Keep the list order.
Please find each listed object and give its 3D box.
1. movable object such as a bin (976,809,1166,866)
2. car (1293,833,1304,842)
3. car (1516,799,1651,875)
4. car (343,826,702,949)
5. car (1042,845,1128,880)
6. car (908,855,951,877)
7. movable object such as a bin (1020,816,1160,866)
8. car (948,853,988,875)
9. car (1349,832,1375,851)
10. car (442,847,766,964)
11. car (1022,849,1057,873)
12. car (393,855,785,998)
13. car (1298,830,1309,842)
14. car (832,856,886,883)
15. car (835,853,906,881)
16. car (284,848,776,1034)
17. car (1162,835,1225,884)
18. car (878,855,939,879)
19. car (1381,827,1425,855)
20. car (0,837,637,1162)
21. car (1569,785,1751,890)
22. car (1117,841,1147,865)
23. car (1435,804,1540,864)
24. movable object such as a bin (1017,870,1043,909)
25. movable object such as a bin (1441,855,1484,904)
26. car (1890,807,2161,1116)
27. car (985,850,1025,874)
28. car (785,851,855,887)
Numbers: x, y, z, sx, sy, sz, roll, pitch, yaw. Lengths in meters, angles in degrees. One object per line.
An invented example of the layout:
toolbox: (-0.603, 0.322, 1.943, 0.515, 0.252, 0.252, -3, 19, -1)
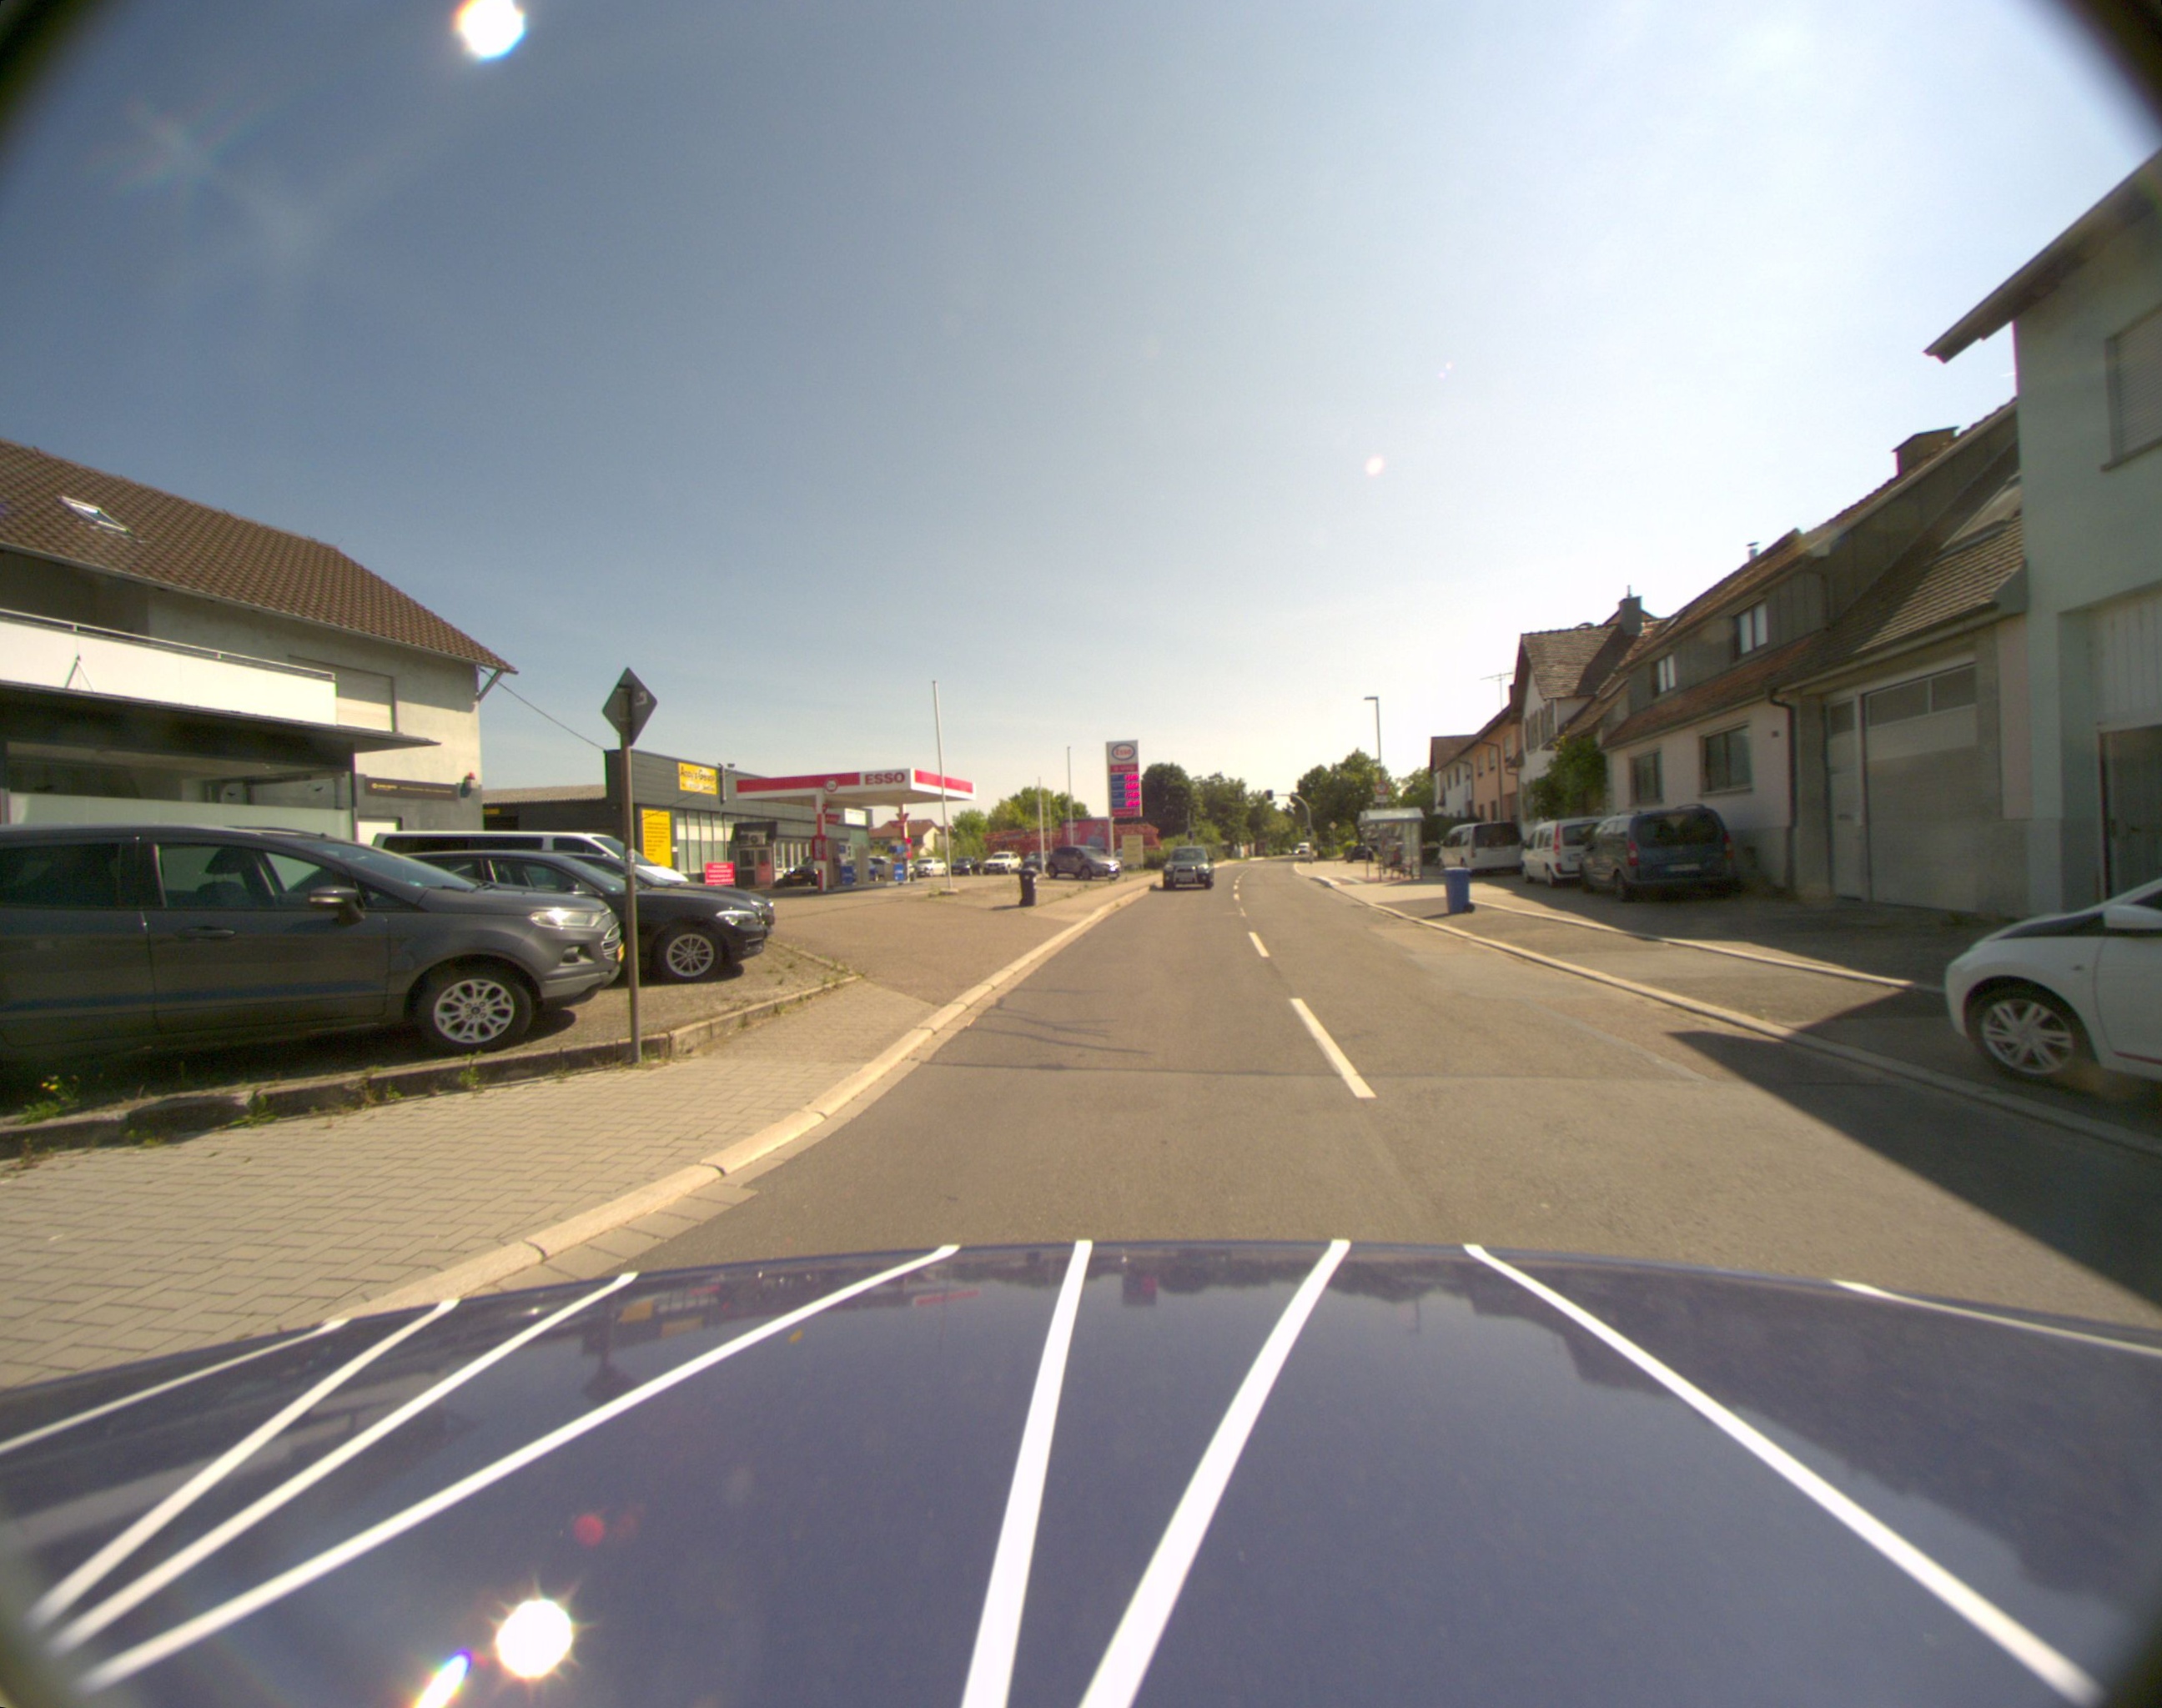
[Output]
movable object such as a bin: (-0.906, -1.338, 65.952, 16.078, 3.995, 2.775, -3, 1, 12)
car: (42.369, -3.189, 148.124, 1.843, 1.583, 4.110, -3, 1, 19)
car: (13.658, -0.497, 20.969, 1.970, 1.764, 4.281, -4, 1, 18)
car: (-10.869, 0.580, 15.341, 5.288, 2.002, 2.229, -3, 1, -13)
car: (0.125, 0.417, 35.763, 1.778, 1.546, 4.171, -2, 0, -39)
car: (-11.383, 0.856, 57.540, 1.845, 1.379, 4.377, -3, 1, 7)
movable object such as a bin: (0.912, -1.269, 74.645, 13.275, 4.141, 2.865, -3, 1, 12)
car: (-8.411, 0.724, 56.913, 1.845, 1.379, 4.001, -3, 1, 7)
car: (23.059, -1.065, 62.467, 1.717, 1.399, 4.401, -2, 2, 16)
car: (-7.762, 0.759, 12.966, 4.321, 1.542, 1.981, -3, 1, -22)
car: (-3.043, 0.473, 56.564, 1.845, 1.583, 4.107, -3, 1, 7)
car: (-6.528, 0.882, 10.707, 4.244, 1.556, 1.981, -2, -1, -24)
car: (47.440, -3.829, 161.913, 1.936, 2.488, 5.844, -3, 1, 19)
car: (-13.721, 0.936, 47.235, 1.796, 1.423, 4.127, -3, 1, 4)
car: (-14.076, 0.869, 50.898, 4.148, 1.625, 1.812, -3, 1, 9)
car: (-5.400, 0.755, 8.136, 3.877, 1.438, 1.748, -3, 1, -22)
car: (4.482, 0.193, 29.834, 1.847, 1.686, 4.403, -4, 0, 15)
car: (-12.138, 0.925, 53.632, 3.685, 1.466, 1.812, -3, 1, 9)
car: (18.983, -0.757, 44.966, 1.717, 1.444, 3.919, -4, -1, 14)
car: (-5.572, 0.810, 5.269, 4.119, 1.644, 1.827, -3, 1, -27)
car: (12.184, -0.370, 16.353, 1.839, 1.782, 4.348, -6, 0, 21)
car: (3.861, -0.047, 56.818, 1.807, 1.676, 4.372, -2, 0, 9)
car: (15.530, -0.777, 29.375, 2.129, 1.975, 5.268, -4, 1, 12)
movable object such as a bin: (-1.279, 0.896, 19.190, 0.559, 0.931, 0.514, -3, 1, 3)
movable object such as a bin: (7.896, 0.525, 15.732, 0.559, 0.931, 0.514, -5, 1, 3)
car: (6.057, 0.520, 3.169, 1.687, 1.454, 3.650, -4, 1, 7)
car: (-5.631, 0.571, 56.978, 2.003, 1.583, 4.339, -3, 1, 7)
car: (-13.999, 0.786, 41.137, 1.808, 1.731, 4.820, -4, 0, 3)
